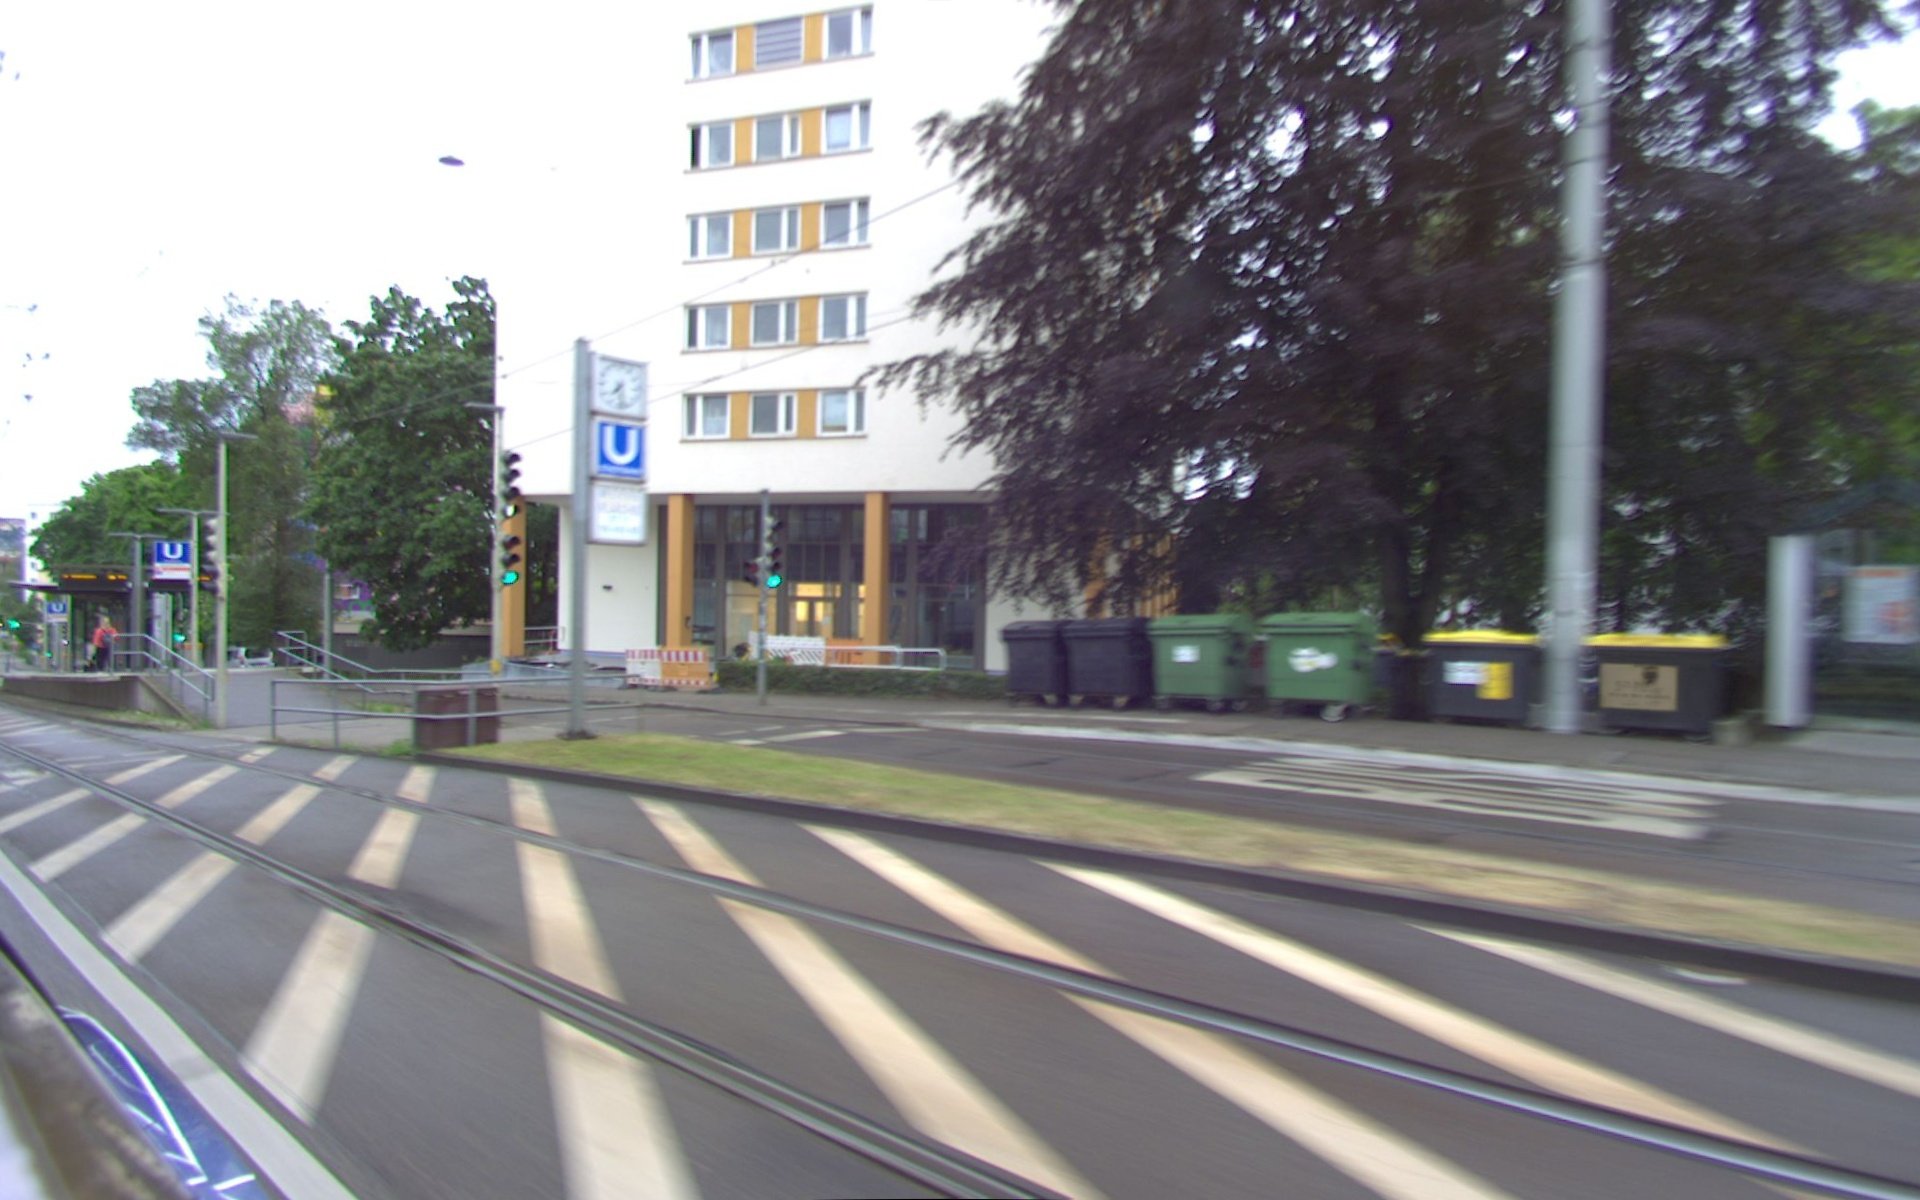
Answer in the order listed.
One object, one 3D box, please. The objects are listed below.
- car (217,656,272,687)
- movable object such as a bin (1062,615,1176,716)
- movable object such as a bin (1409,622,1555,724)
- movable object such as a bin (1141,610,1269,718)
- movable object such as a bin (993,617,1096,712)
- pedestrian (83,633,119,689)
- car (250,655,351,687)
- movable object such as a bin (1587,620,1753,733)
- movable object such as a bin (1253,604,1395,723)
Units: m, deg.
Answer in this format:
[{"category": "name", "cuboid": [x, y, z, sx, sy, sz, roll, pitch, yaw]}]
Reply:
[{"category": "car", "cuboid": [-42.827, 4.264, 60.506, 4.439, 1.730, 1.728, -4, -3, 42]}, {"category": "movable object such as a bin", "cuboid": [2.463, 0.992, 15.713, 1.356, 1.444, 1.009, -4, -1, 44]}, {"category": "movable object such as a bin", "cuboid": [6.549, 0.897, 12.715, 1.343, 1.147, 1.009, -4, -1, 44]}, {"category": "movable object such as a bin", "cuboid": [3.554, 0.916, 14.730, 1.445, 1.444, 1.009, -4, -1, 44]}, {"category": "movable object such as a bin", "cuboid": [1.400, 1.054, 16.783, 1.304, 1.444, 1.009, -4, -1, 44]}, {"category": "pedestrian", "cuboid": [-24.147, 1.712, 28.450, 0.771, 1.560, 0.664, -4, -3, 42]}, {"category": "car", "cuboid": [-35.899, 3.841, 55.232, 4.416, 1.554, 1.951, -1, -2, -27]}, {"category": "movable object such as a bin", "cuboid": [8.032, 0.841, 11.461, 1.343, 1.147, 1.009, -4, -1, 44]}, {"category": "movable object such as a bin", "cuboid": [4.828, 0.828, 13.458, 1.428, 1.444, 1.009, -4, -1, 44]}]
